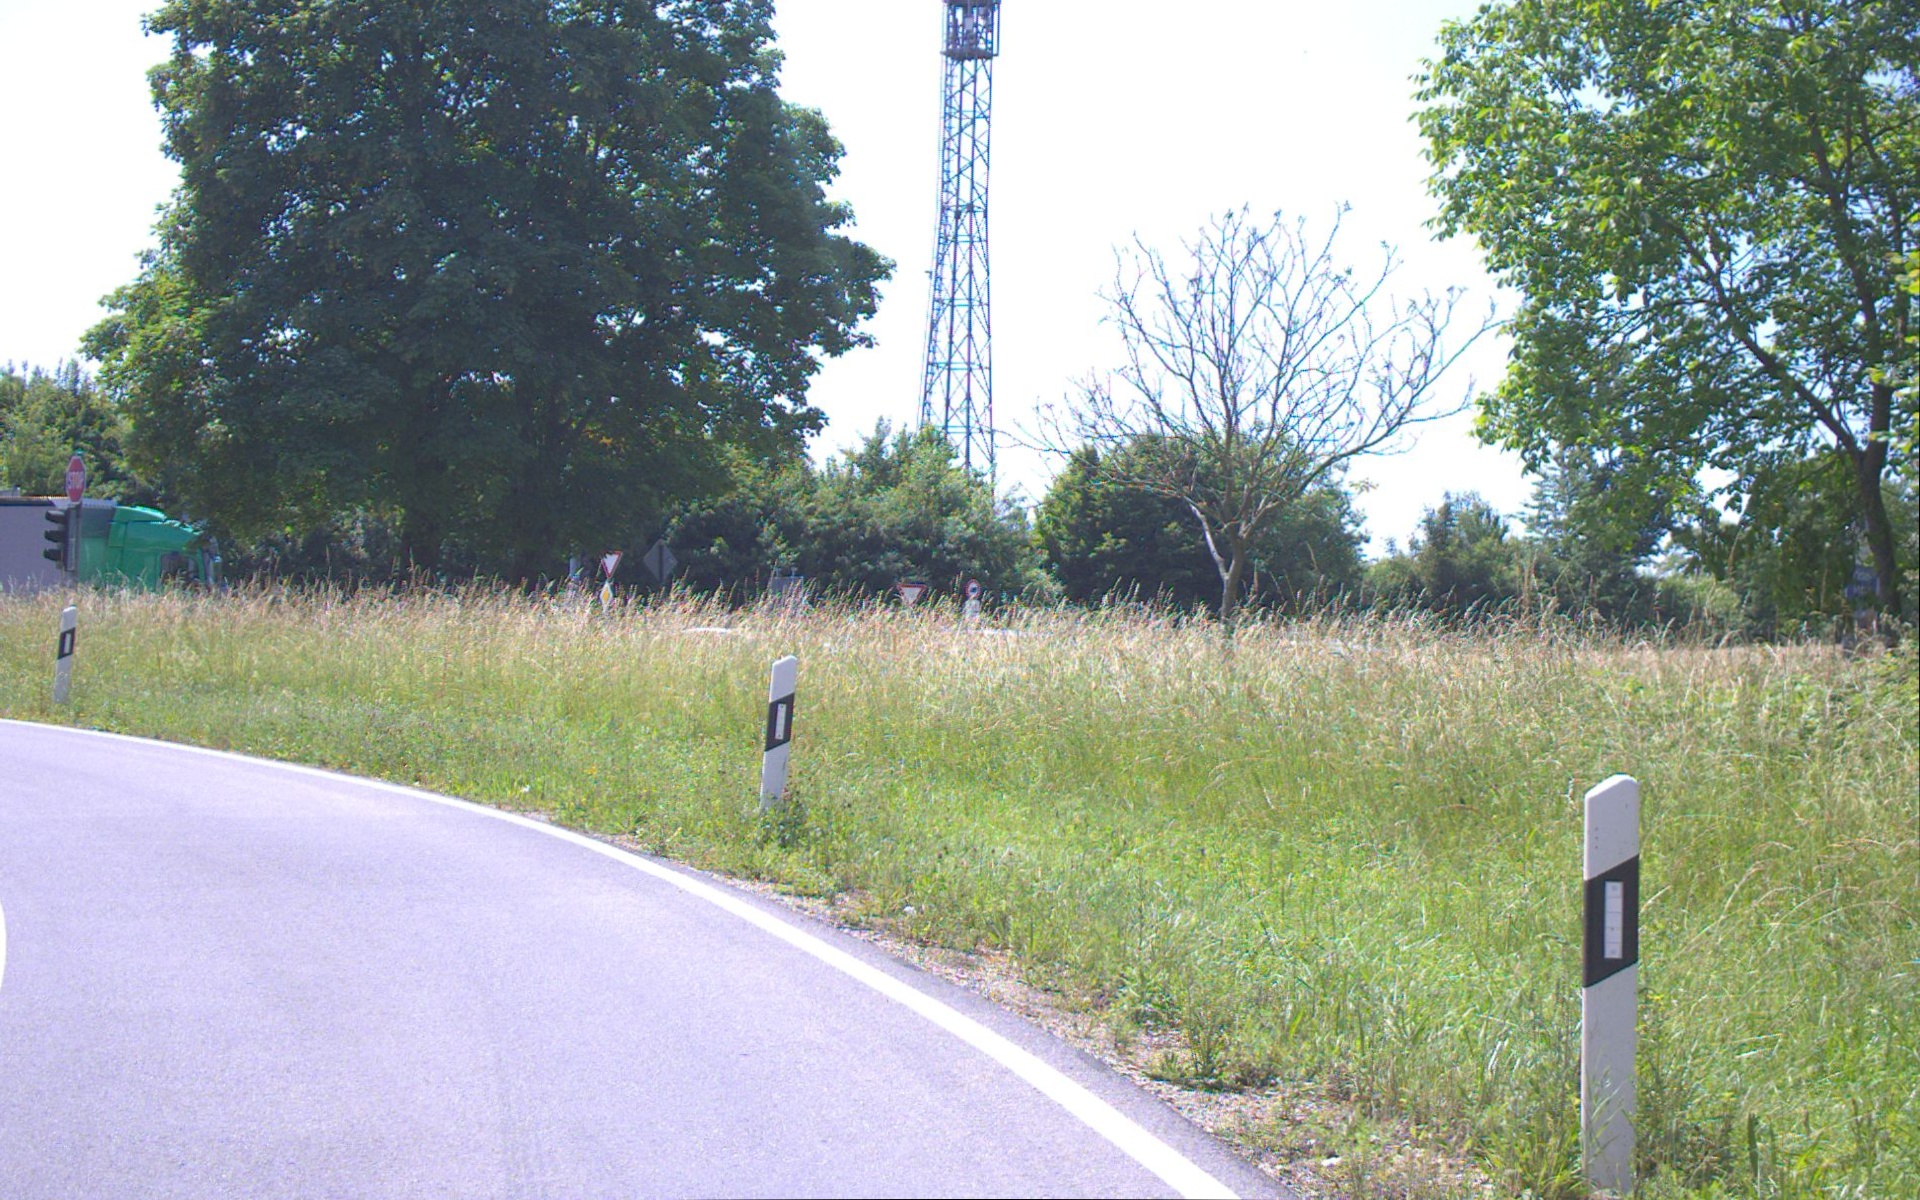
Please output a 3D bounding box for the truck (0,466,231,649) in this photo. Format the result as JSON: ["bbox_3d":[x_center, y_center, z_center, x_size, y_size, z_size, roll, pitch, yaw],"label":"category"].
[{"bbox_3d":[-25.693,-1.023,81.543,16.641,4.159,3.134,1,-1,13],"label":"truck"}]
